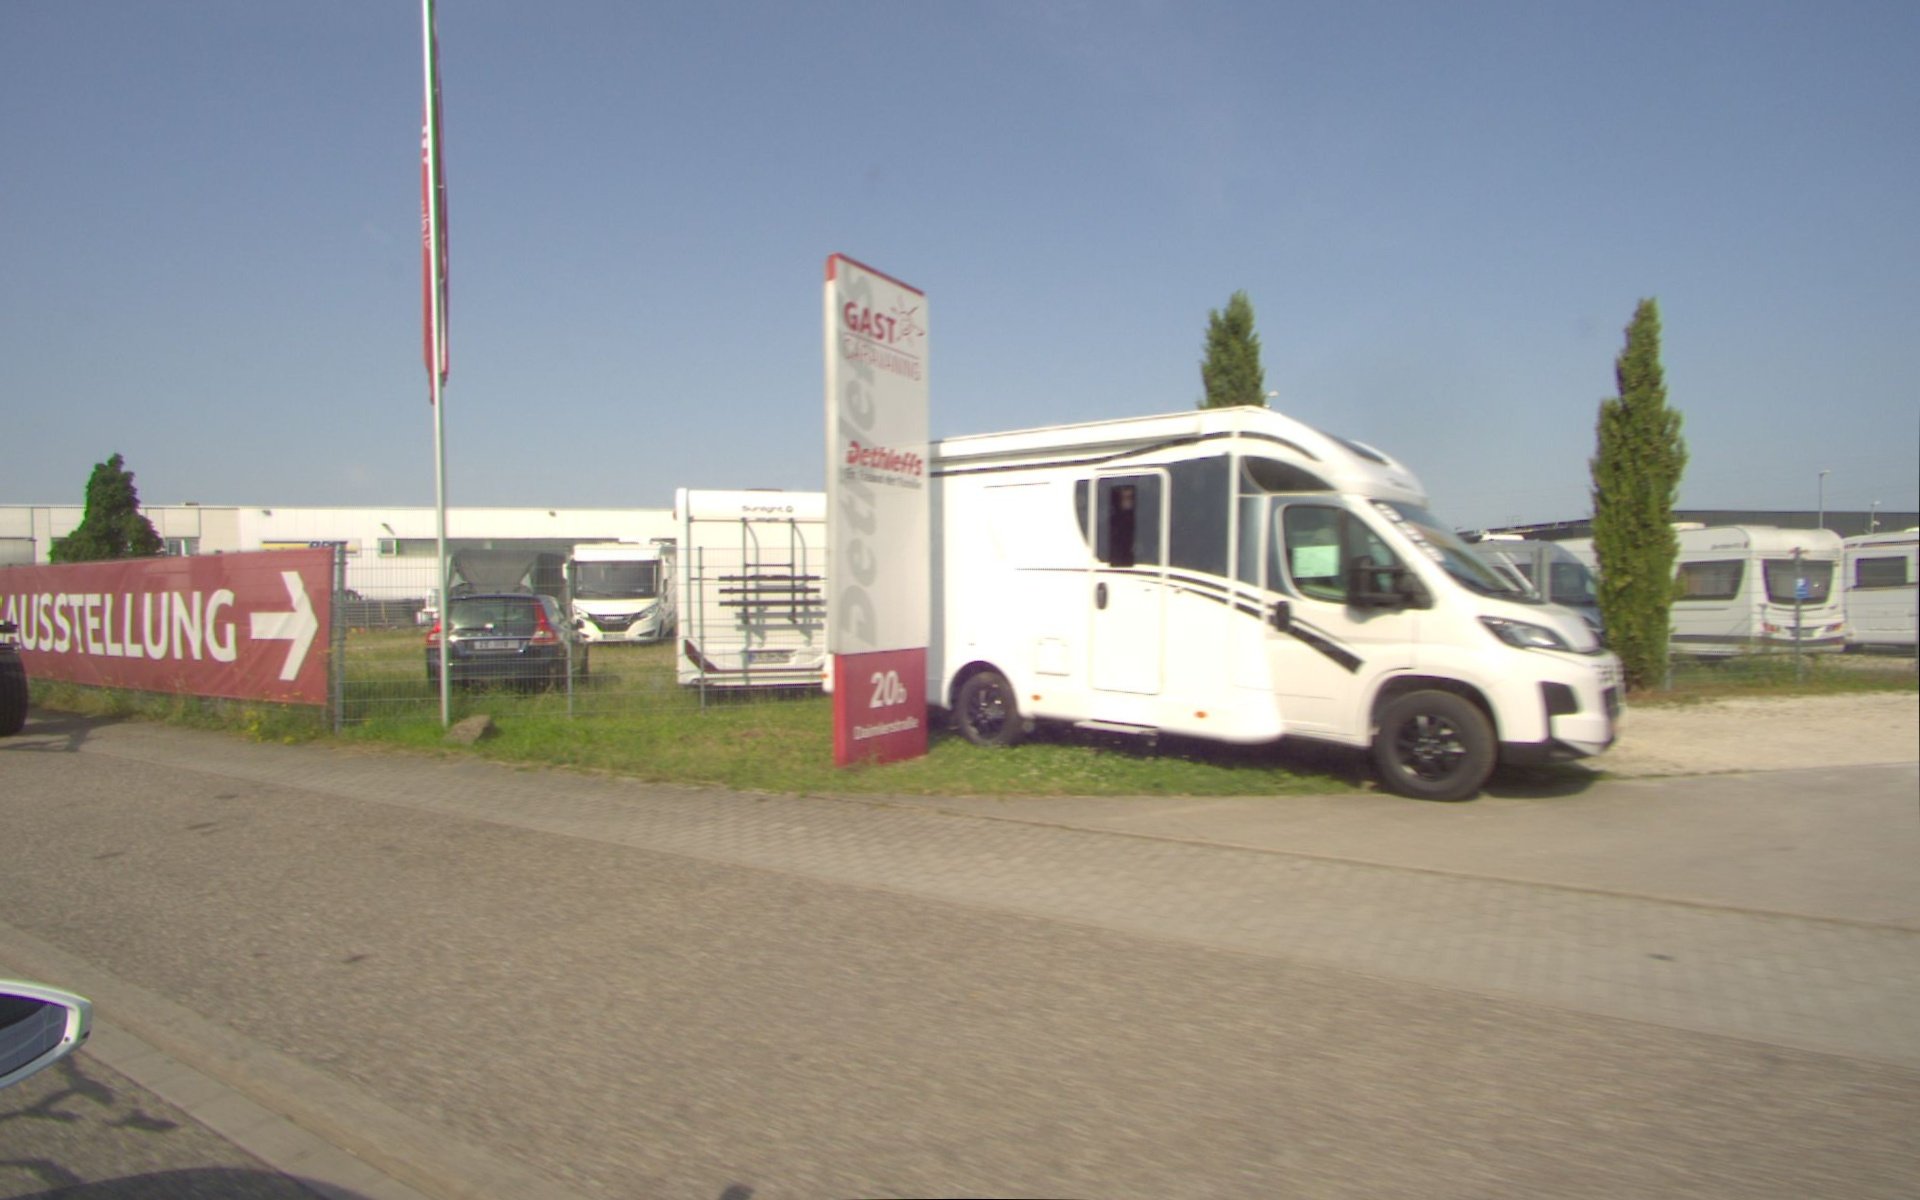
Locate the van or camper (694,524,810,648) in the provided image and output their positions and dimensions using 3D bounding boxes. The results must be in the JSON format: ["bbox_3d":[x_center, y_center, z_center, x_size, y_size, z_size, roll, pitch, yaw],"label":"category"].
[{"bbox_3d":[-6.166,-0.351,29.427,2.904,3.125,7.959,0,0,-13],"label":"van or camper"}]

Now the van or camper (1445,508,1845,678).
[{"bbox_3d":[12.877,-0.081,19.661,2.286,2.741,6.599,0,0,-15],"label":"van or camper"}]

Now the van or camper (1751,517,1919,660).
[{"bbox_3d":[20.475,-0.231,20.593,2.286,2.901,6.601,0,-1,-14],"label":"van or camper"}]

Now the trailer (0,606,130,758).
[{"bbox_3d":[-13.226,0.846,11.741,9.319,1.407,2.616,0,2,33],"label":"trailer"}]

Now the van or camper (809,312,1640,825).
[{"bbox_3d":[1.803,-0.170,8.959,6.889,2.983,2.320,0,0,41],"label":"van or camper"}]

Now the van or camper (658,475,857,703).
[{"bbox_3d":[-3.302,-0.141,15.784,2.446,2.788,6.615,0,0,-14],"label":"van or camper"}]

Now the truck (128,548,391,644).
[{"bbox_3d":[-30.504,-0.154,44.081,9.146,4.025,2.454,0,1,-15],"label":"truck"}]

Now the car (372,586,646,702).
[{"bbox_3d":[-6.496,0.572,15.008,2.130,1.496,3.999,0,0,3],"label":"car"}]

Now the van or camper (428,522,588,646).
[{"bbox_3d":[-12.720,-0.419,28.834,2.621,3.125,6.788,0,0,-10],"label":"van or camper"}]

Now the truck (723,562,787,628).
[{"bbox_3d":[-8.681,-0.178,42.449,2.413,2.504,7.994,0,0,-11],"label":"truck"}]

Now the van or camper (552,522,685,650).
[{"bbox_3d":[-9.491,-0.340,28.637,2.756,3.125,7.959,0,0,-13],"label":"van or camper"}]

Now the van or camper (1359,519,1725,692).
[{"bbox_3d":[9.997,0.087,18.064,1.964,2.568,6.141,-1,0,-15],"label":"van or camper"}]
